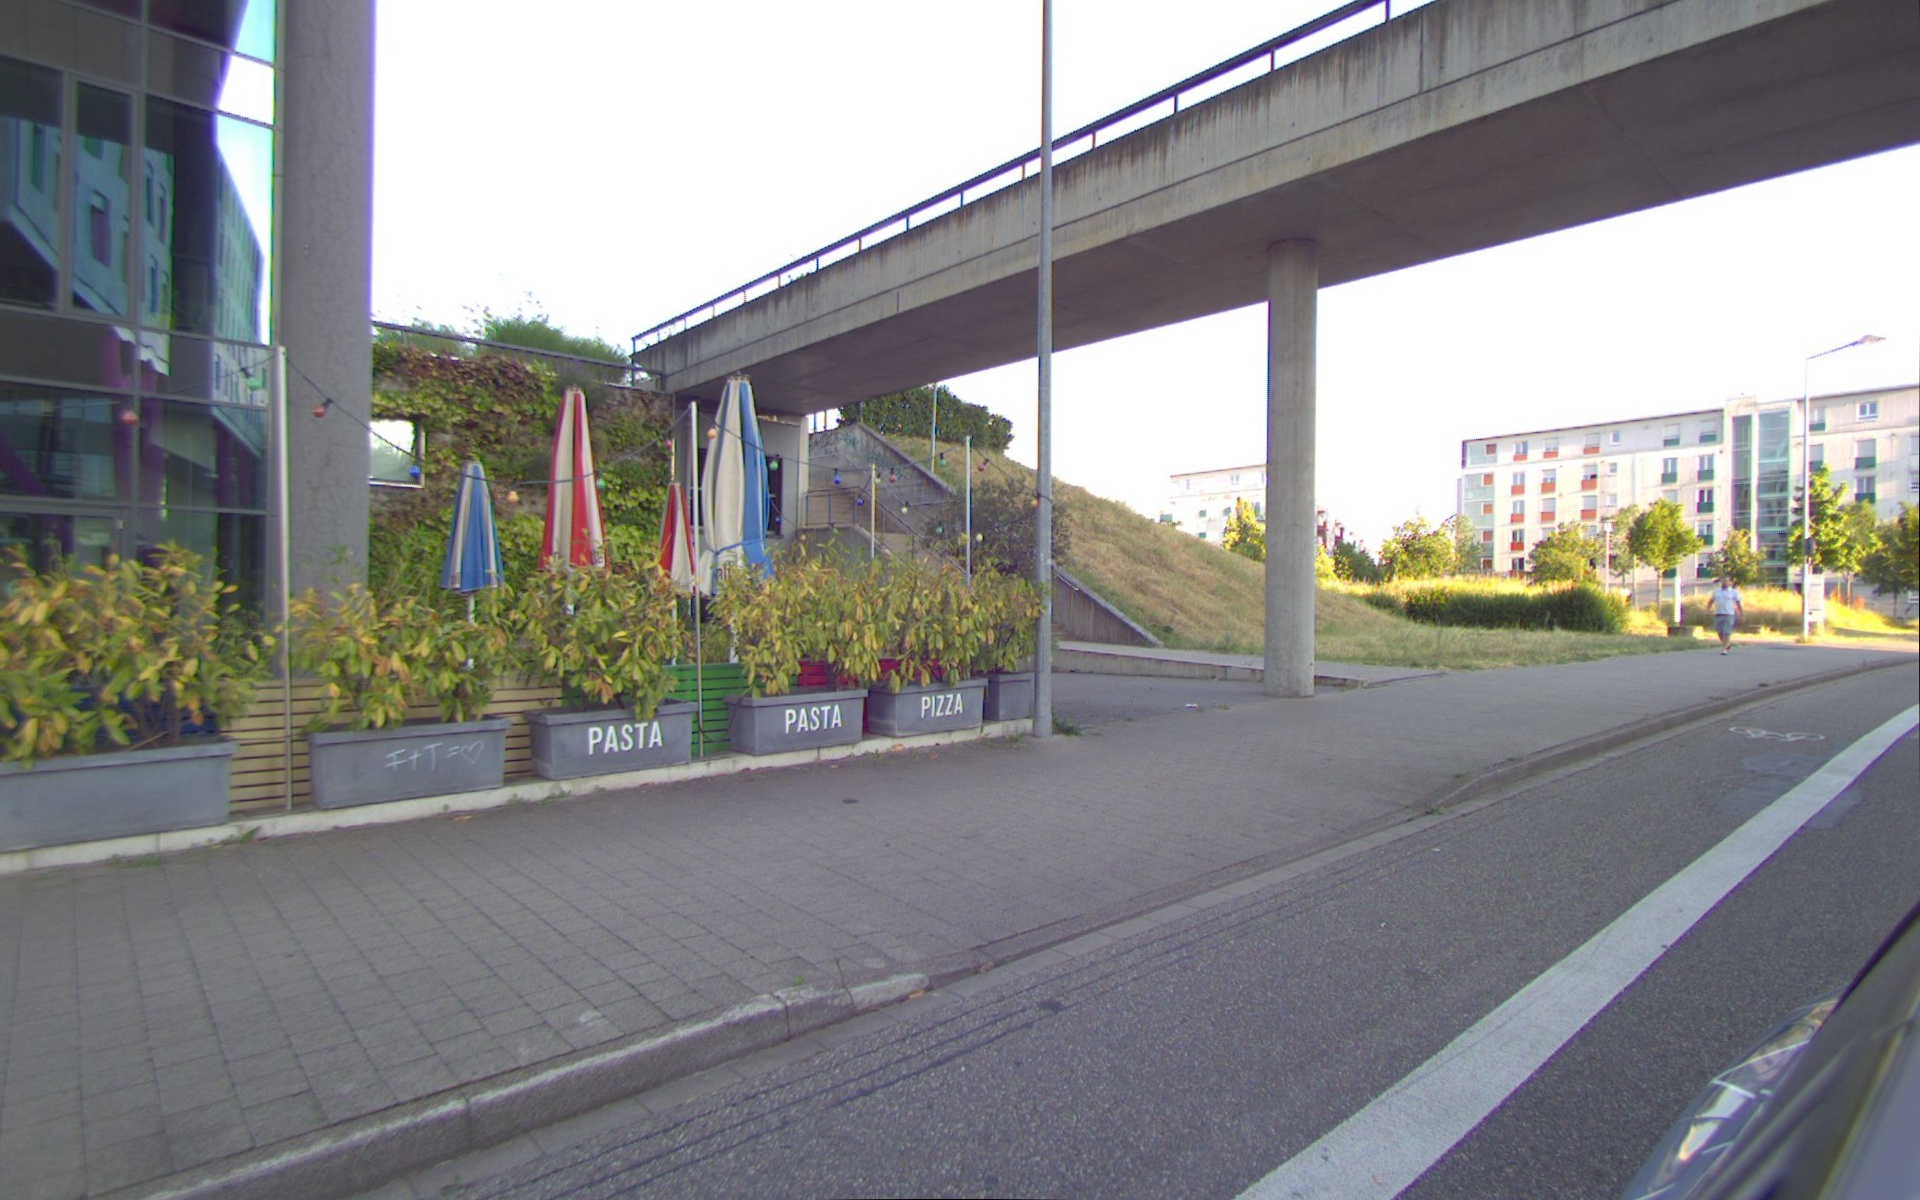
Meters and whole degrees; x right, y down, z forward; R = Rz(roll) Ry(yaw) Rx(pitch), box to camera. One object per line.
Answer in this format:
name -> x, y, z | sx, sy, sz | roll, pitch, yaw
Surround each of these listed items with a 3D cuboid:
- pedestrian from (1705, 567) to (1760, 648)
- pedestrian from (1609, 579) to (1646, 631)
pedestrian -> 17.174, 0.163, 22.491 | 0.890, 1.745, 0.737 | 1, 2, -40
pedestrian -> 21.986, 0.161, 33.318 | 0.844, 1.650, 0.737 | 1, 2, -39
